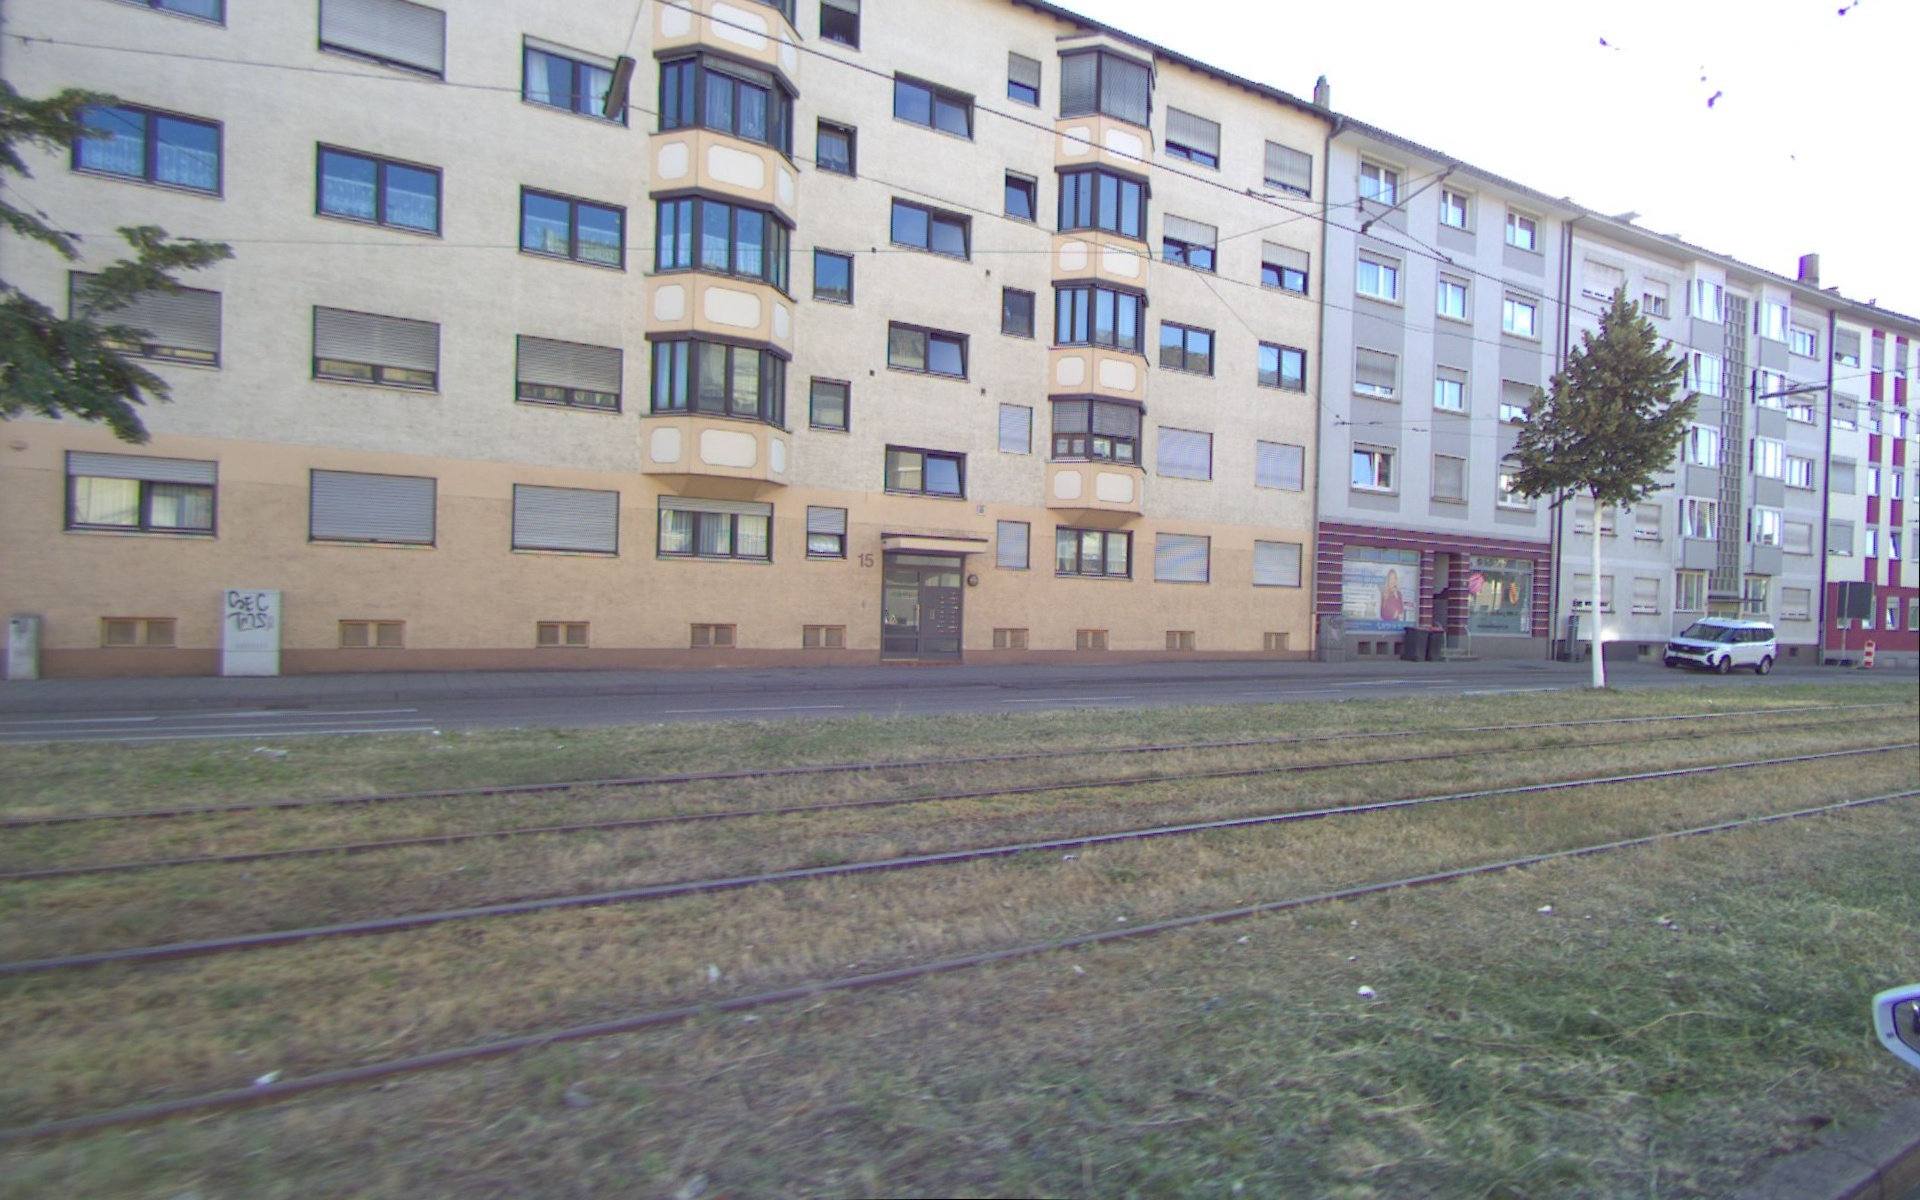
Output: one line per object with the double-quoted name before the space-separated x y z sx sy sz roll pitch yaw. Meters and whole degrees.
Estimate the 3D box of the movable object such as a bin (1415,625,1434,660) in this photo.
"movable object such as a bin" 14.436 1.320 31.200 0.436 1.050 0.297 2 1 -31

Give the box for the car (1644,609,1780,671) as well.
"car" 26.535 1.409 35.435 4.482 1.950 1.987 3 1 -26

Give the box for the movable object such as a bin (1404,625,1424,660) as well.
"movable object such as a bin" 14.002 1.312 30.974 0.436 1.050 0.297 2 1 -31
